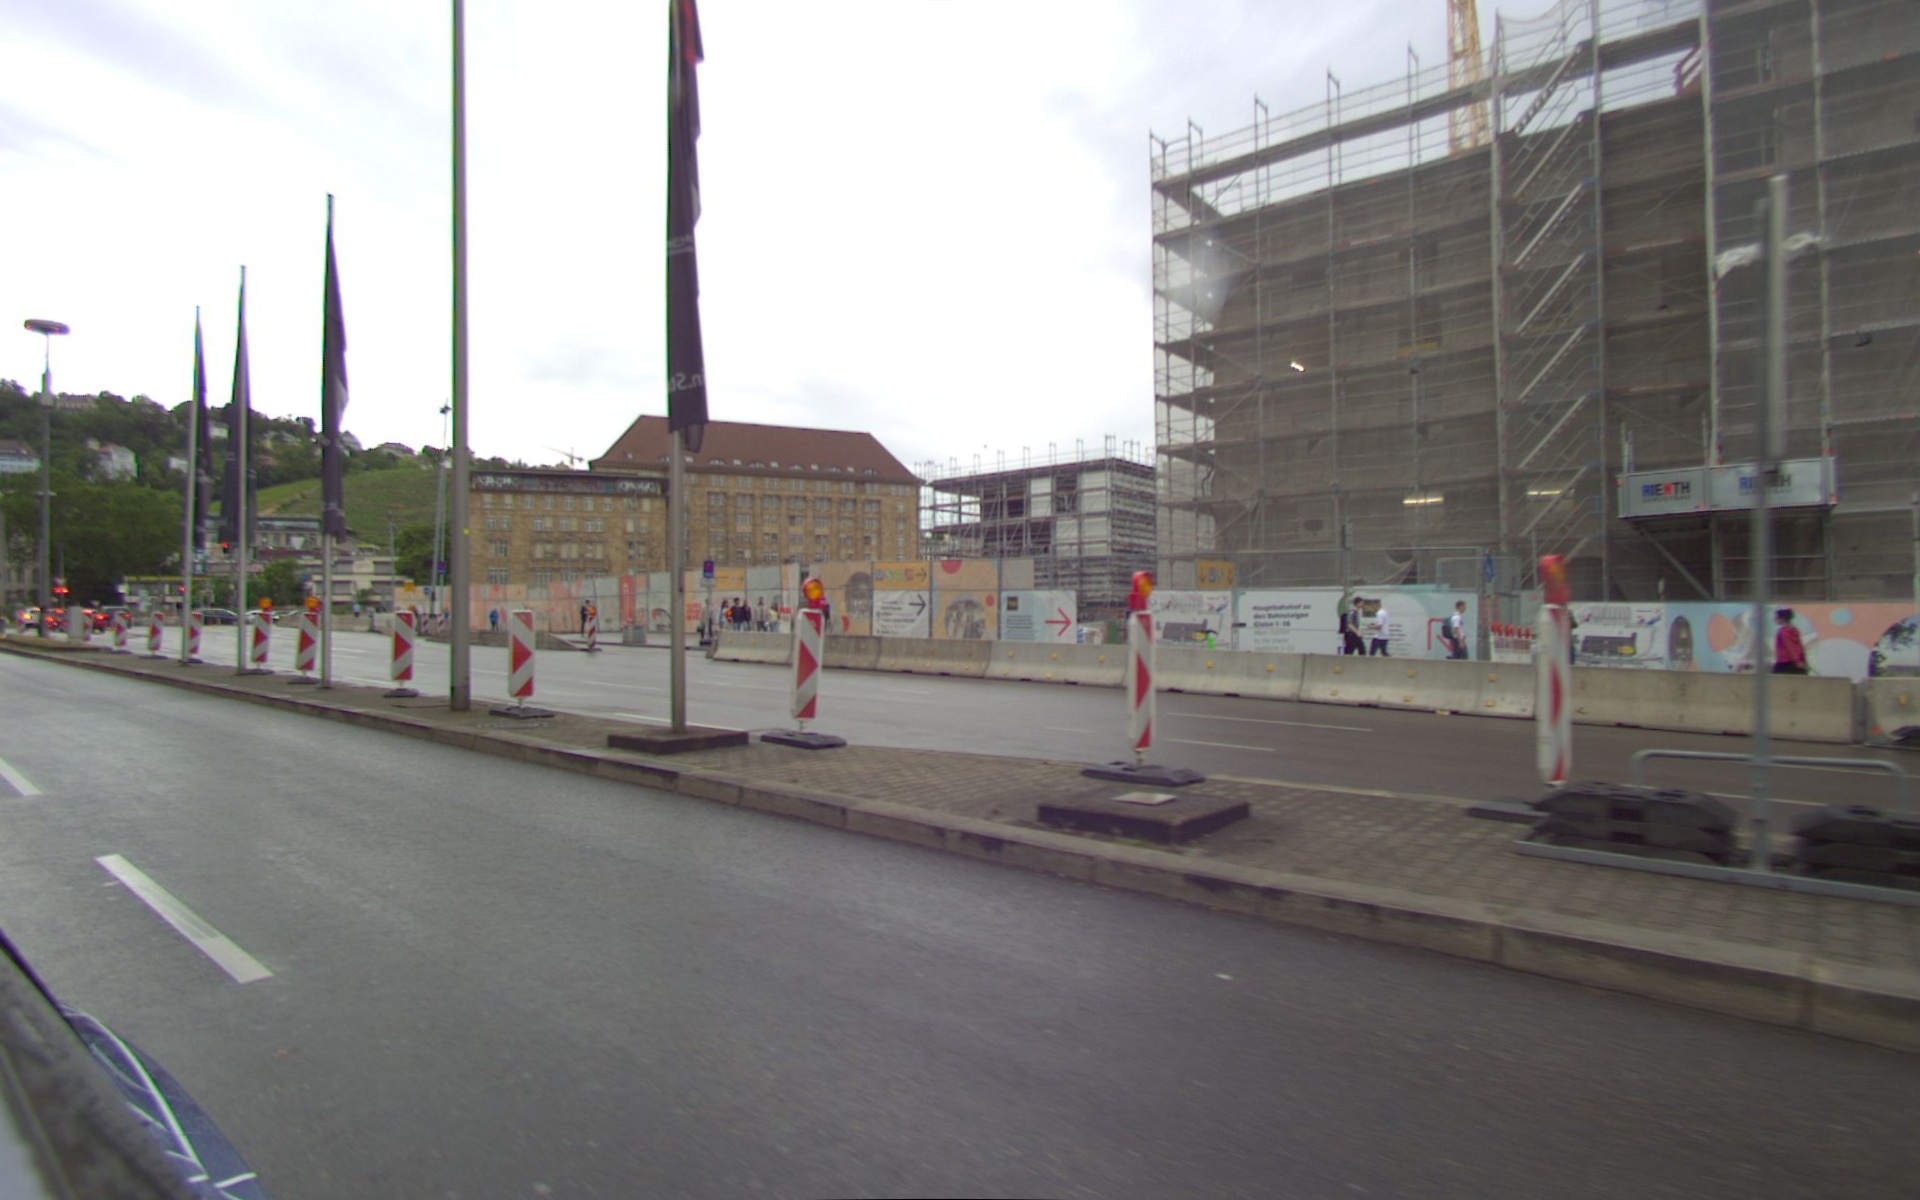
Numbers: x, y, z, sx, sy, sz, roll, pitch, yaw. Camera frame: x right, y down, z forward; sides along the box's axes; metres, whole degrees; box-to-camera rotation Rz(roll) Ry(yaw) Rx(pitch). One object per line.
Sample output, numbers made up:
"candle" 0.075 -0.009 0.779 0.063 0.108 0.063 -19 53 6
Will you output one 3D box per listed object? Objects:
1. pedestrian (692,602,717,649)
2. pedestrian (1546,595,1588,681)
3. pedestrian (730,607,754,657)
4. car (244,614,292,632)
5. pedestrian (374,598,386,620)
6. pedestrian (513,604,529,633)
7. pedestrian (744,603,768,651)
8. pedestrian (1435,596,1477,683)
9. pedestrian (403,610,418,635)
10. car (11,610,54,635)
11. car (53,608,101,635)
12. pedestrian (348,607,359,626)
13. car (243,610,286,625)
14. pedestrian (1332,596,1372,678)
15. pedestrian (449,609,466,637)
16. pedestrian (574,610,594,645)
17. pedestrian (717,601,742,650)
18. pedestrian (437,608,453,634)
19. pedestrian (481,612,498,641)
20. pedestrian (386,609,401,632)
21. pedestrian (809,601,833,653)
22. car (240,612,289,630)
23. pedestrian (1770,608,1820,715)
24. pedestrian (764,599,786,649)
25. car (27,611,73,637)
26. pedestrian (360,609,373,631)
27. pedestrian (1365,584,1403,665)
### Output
"pedestrian" -10.265 1.024 40.616 0.720 1.850 0.656 0 1 41
"pedestrian" 13.383 0.827 22.315 0.717 1.850 0.475 0 1 42
"pedestrian" -8.266 1.202 38.356 0.704 1.850 0.719 -1 0 -30
"car" -76.312 2.534 111.614 4.136 1.871 1.833 -1 1 -44
"pedestrian" -43.674 0.702 76.193 0.705 1.628 0.544 -1 1 -44
"pedestrian" -25.241 1.053 58.175 0.544 1.628 0.706 0 1 41
"pedestrian" -7.588 0.987 37.652 0.704 1.757 0.565 -1 0 -28
"pedestrian" 10.896 0.851 22.221 0.717 1.850 0.475 0 1 42
"pedestrian" -36.791 1.502 67.752 0.544 1.628 0.706 0 1 41
"car" -66.650 1.604 72.716 3.913 1.706 1.763 0 1 40
"car" -56.008 1.348 64.195 3.914 1.707 1.762 -1 -1 41
"pedestrian" -51.108 1.372 85.266 0.704 1.628 0.545 -1 0 -34
"car" -78.559 1.936 114.340 3.934 1.644 2.005 0 -1 -36
"pedestrian" 9.058 0.828 23.379 0.717 1.850 0.579 0 1 41
"pedestrian" -29.380 1.343 59.167 0.544 1.628 0.706 0 1 41
"pedestrian" -17.781 1.301 47.852 0.544 1.628 0.706 0 1 41
"pedestrian" -8.503 0.926 37.294 0.704 1.746 0.719 -1 0 -30
"pedestrian" -31.990 1.288 62.886 0.544 1.628 0.706 0 1 41
"pedestrian" -27.562 1.538 59.284 0.544 1.628 0.706 0 1 41
"pedestrian" -39.631 1.418 70.798 0.544 1.628 0.706 0 1 41
"pedestrian" -5.073 0.972 36.900 0.717 1.850 0.475 0 1 42
"car" -67.526 2.028 98.270 3.934 1.644 2.005 0 -1 -36
"pedestrian" 13.909 1.011 16.873 0.619 1.730 0.791 0 -2 38
"pedestrian" -6.957 0.903 38.008 0.651 1.850 0.557 -1 0 -28
"car" -61.775 1.601 68.689 3.913 1.706 1.763 0 1 40
"pedestrian" -44.354 1.491 75.616 0.705 1.628 0.544 -1 1 -44
"pedestrian" 9.926 0.556 23.695 0.717 1.850 0.475 0 1 42
